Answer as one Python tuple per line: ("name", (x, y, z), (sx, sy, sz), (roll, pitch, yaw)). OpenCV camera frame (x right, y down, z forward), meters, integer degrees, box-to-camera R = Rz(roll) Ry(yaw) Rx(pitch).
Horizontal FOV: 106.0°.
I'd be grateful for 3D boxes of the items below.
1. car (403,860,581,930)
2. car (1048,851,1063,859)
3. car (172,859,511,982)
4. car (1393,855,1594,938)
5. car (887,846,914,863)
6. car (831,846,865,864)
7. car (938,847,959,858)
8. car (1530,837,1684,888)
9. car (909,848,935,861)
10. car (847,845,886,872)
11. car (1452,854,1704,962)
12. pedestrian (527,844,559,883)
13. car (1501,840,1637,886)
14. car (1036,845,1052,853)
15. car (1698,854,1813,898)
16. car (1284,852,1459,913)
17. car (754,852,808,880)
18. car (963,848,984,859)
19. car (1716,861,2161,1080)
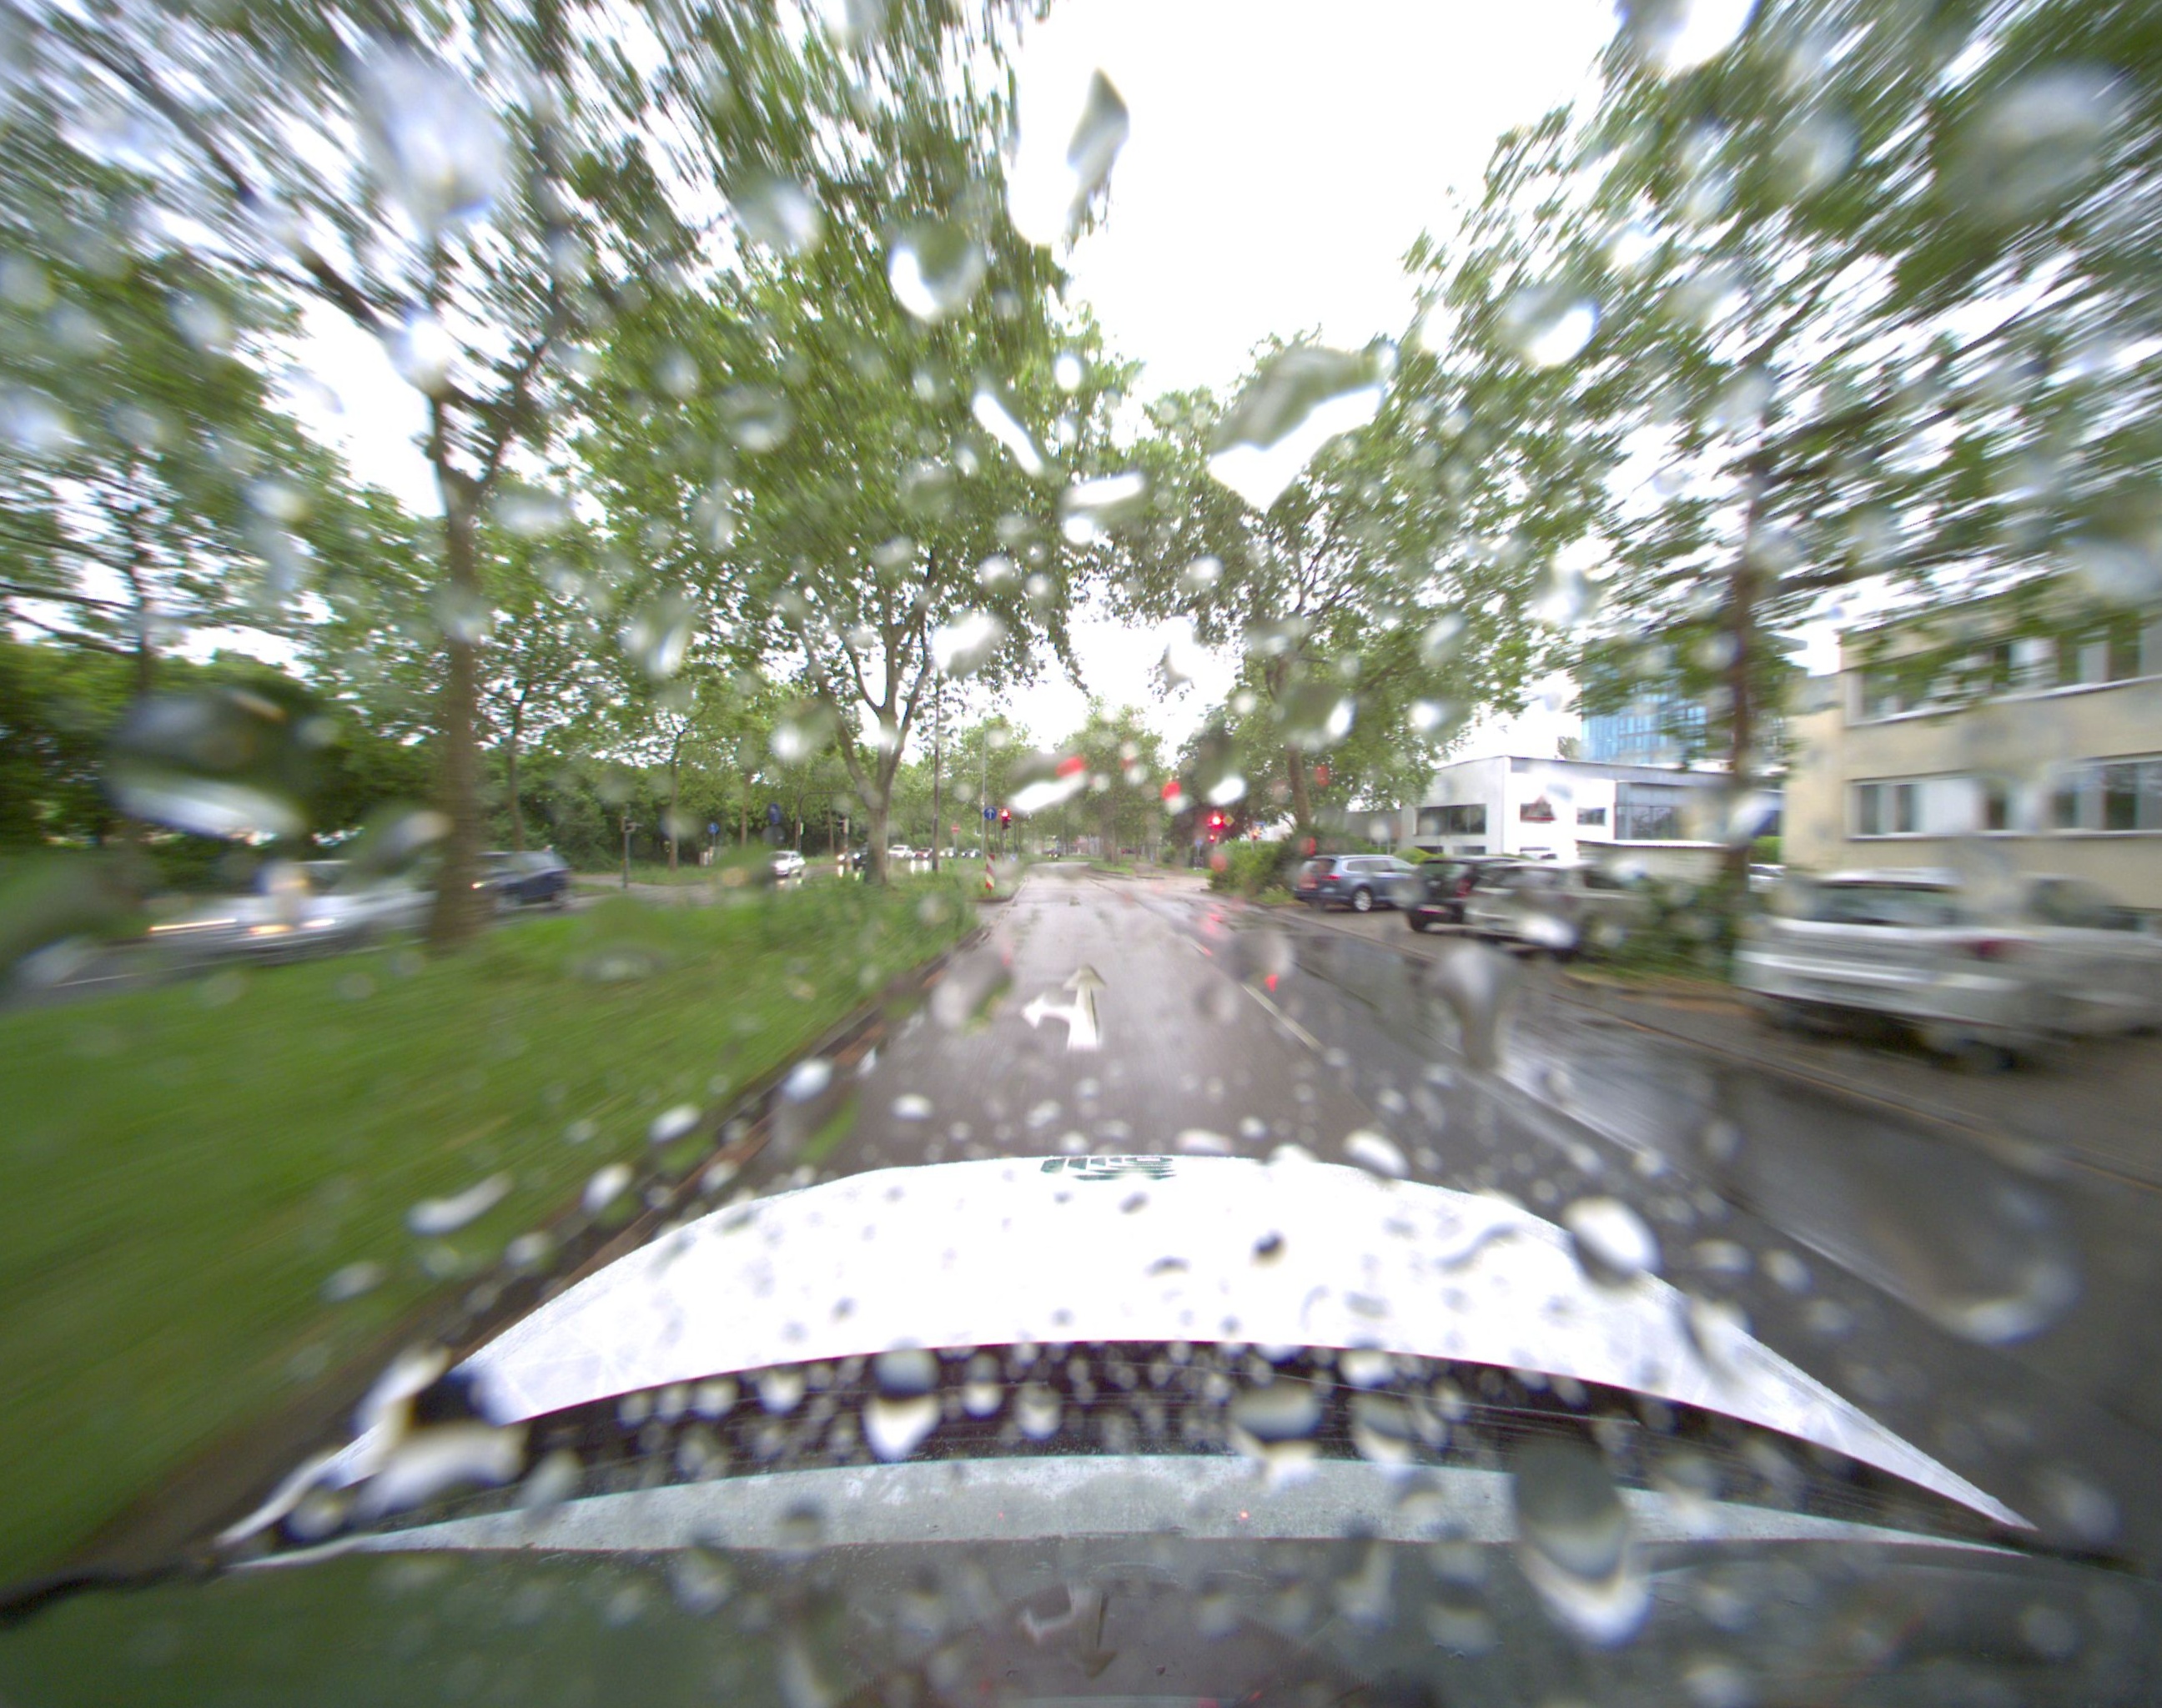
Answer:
("car", (-15.324, 0.994, 21.508), (1.739, 1.591, 4.206), (0, 0, -2))
("car", (-4.498, 0.114, 145.850), (1.576, 1.372, 4.277), (0, 0, 13))
("car", (-11.495, 0.905, 13.176), (1.740, 1.591, 4.324), (0, 0, -4))
("car", (8.069, 0.749, 15.898), (3.702, 1.416, 1.733), (0, 0, -29))
("car", (-18.249, 0.013, 82.548), (1.738, 1.631, 4.442), (0, 0, -1))
("car", (-19.691, 0.070, 68.995), (1.739, 1.476, 4.231), (0, 0, -2))
("car", (-16.640, -0.251, 102.293), (1.578, 1.372, 3.342), (0, 0, 8))
("car", (18.929, 0.281, 29.396), (4.527, 1.757, 1.747), (0, 0, -3))
("car", (-17.883, 0.039, 91.894), (1.735, 1.408, 4.449), (0, 0, 4))
("car", (-15.186, 0.280, 57.897), (1.740, 1.841, 5.113), (0, 0, -4))
("car", (7.724, 0.732, 12.626), (3.702, 1.416, 1.759), (0, 0, -29))
("pedestrian", (-23.324, 0.385, 35.326), (0.829, 1.674, 0.898), (0, 0, -4))
("car", (19.364, 0.341, 32.396), (4.531, 1.757, 1.777), (0, 0, -6))
("car", (-9.761, -1.409, 214.315), (3.989, 2.014, 1.992), (1, -1, -12))
("car", (28.885, 0.887, 35.028), (1.739, 1.757, 3.760), (0, 0, -2))
("car", (7.757, 0.687, 21.686), (4.503, 1.458, 1.735), (0, 0, -25))
("car", (-16.815, 0.622, 45.838), (1.740, 1.476, 4.228), (0, 0, -5))
("car", (-14.630, -0.073, 111.006), (1.576, 1.372, 4.277), (0, 0, 12))
("car", (7.553, 0.802, 7.076), (3.698, 1.416, 1.735), (0, 0, -25))
